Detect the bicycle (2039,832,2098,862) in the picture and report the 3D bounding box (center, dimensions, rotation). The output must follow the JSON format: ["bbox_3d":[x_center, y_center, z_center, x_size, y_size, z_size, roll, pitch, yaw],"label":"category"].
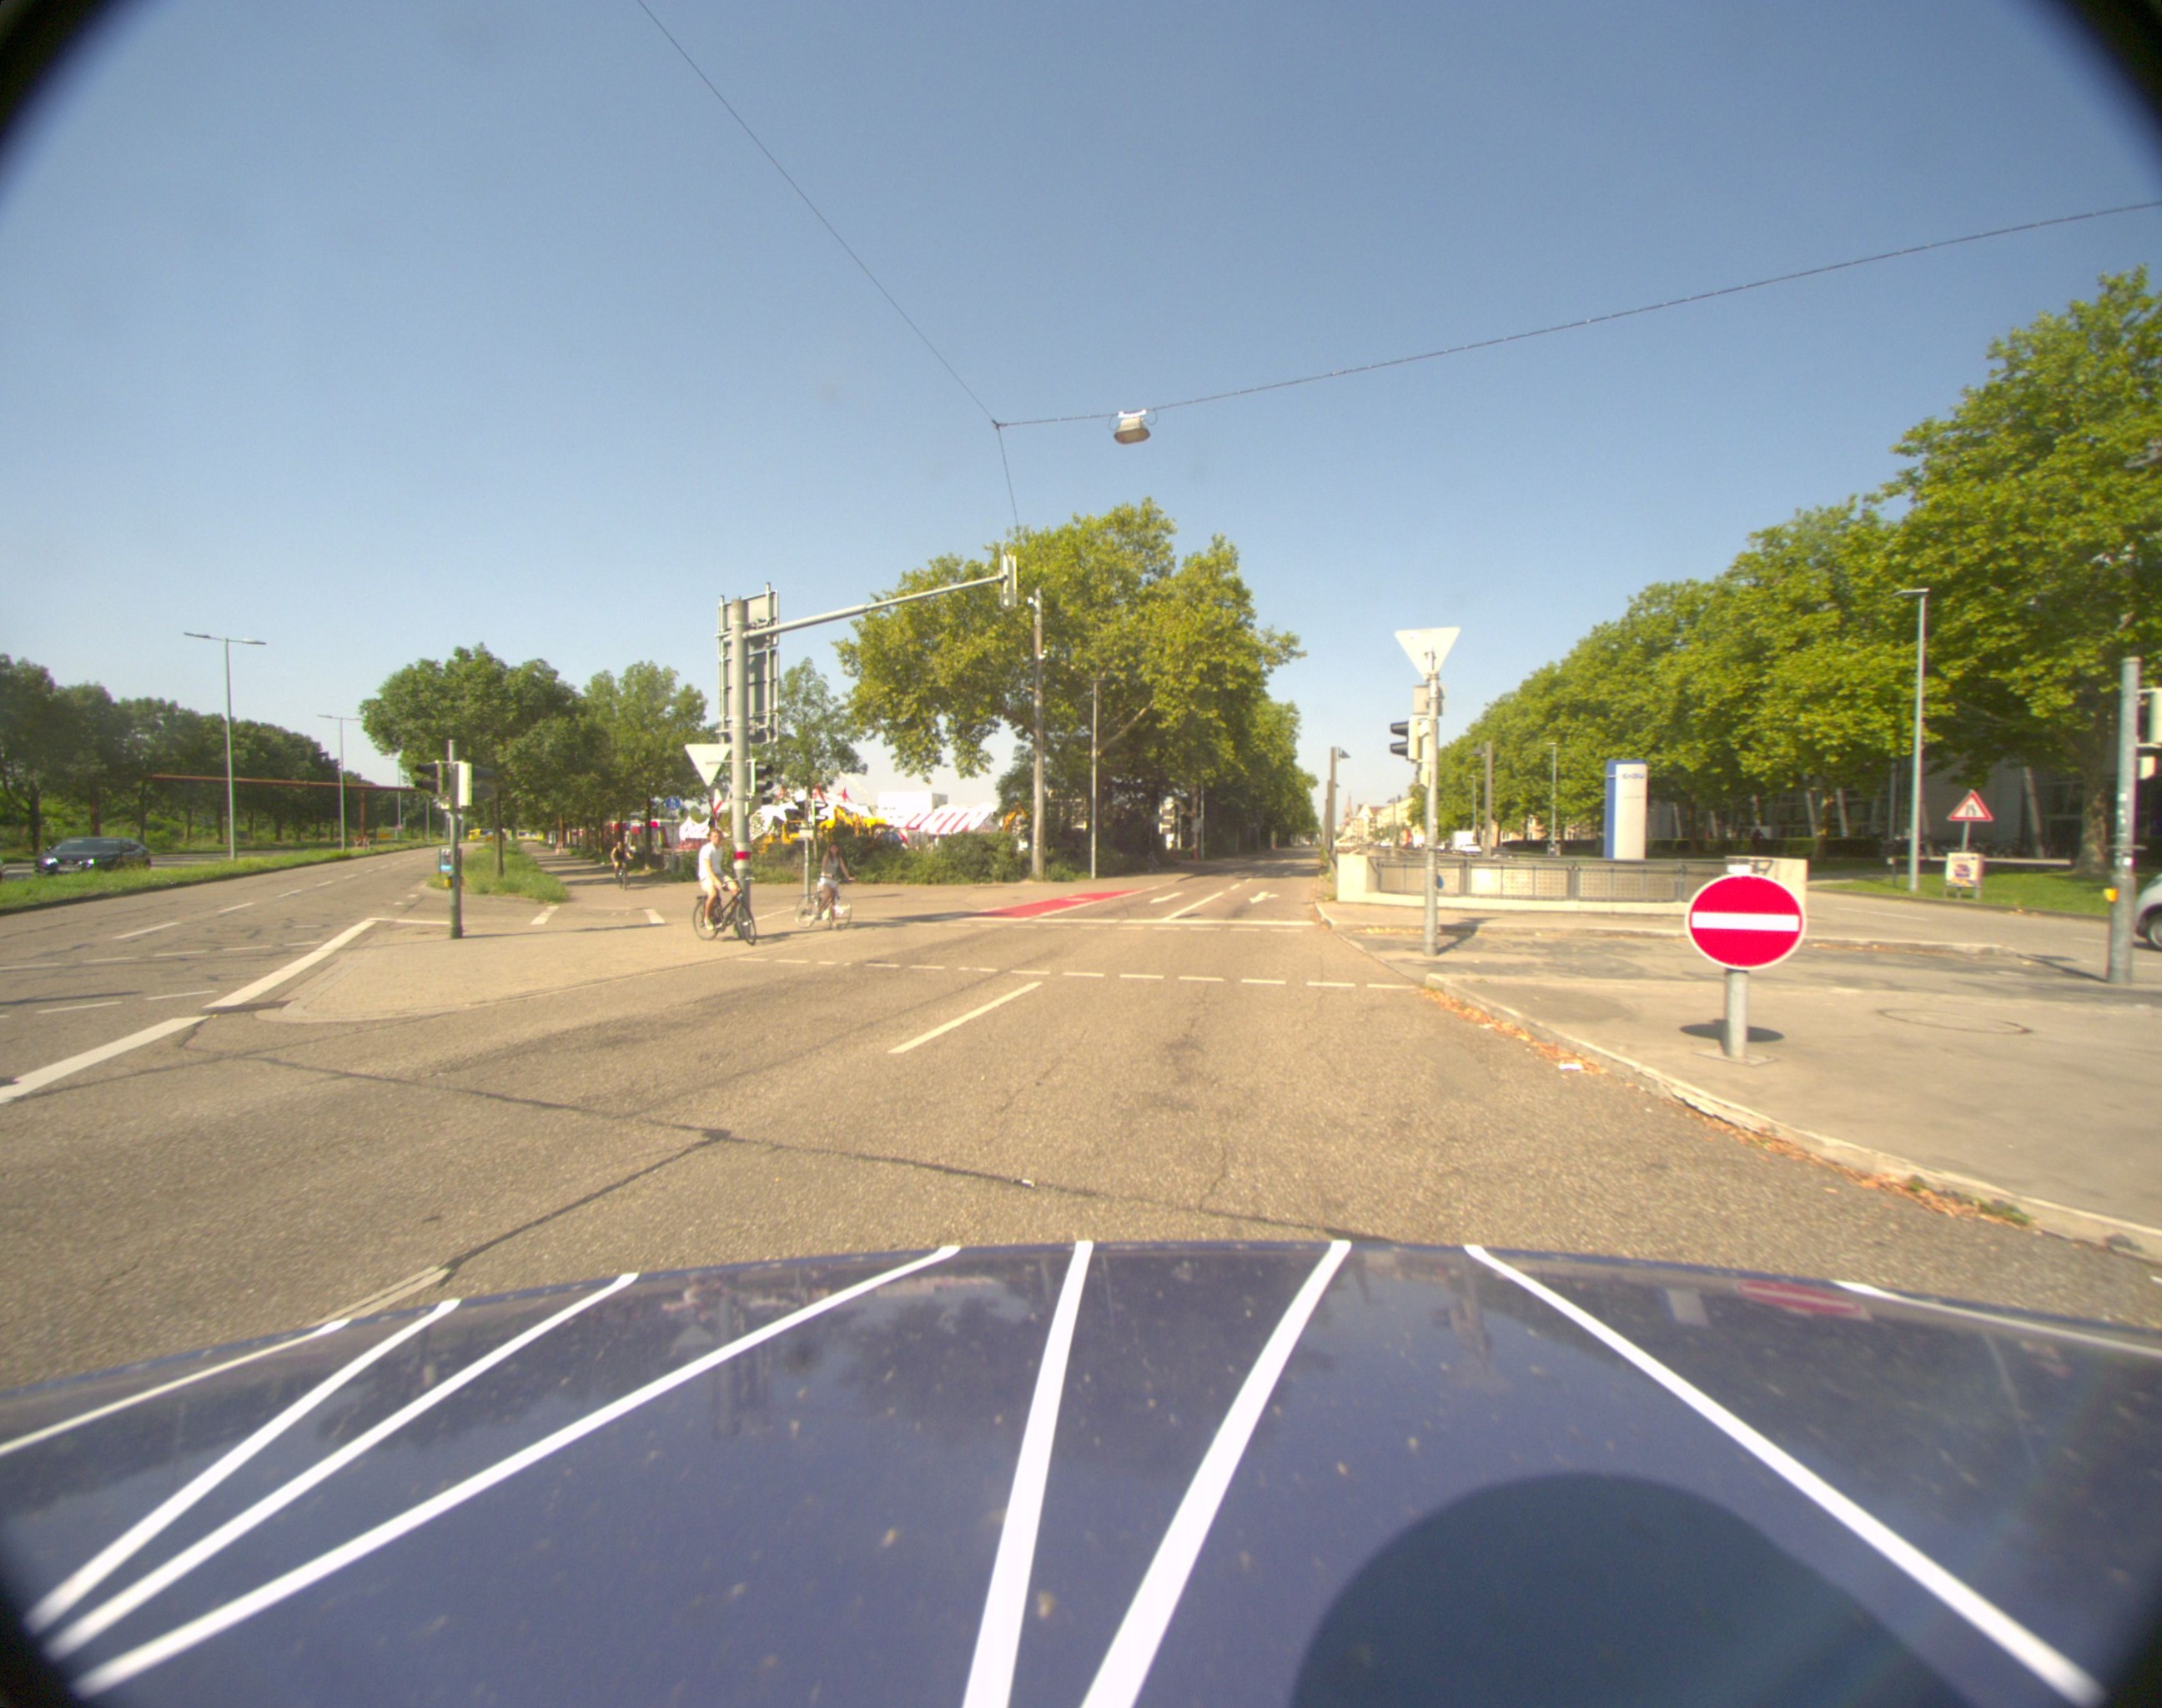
[{"bbox_3d":[55.402,-0.397,42.658,2.166,1.546,0.601,-2,1,10],"label":"bicycle"}]

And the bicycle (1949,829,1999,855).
[{"bbox_3d":[56.202,-0.777,47.832,2.166,1.546,0.601,-2,1,10],"label":"bicycle"}]

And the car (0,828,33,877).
[{"bbox_3d":[-37.520,-0.014,25.352,1.659,1.655,3.746,-3,1,-32],"label":"car"}]

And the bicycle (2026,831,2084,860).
[{"bbox_3d":[55.600,-0.501,43.400,2.166,1.546,0.601,-2,1,10],"label":"bicycle"}]

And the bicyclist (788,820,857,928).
[{"bbox_3d":[-5.015,0.375,14.746,1.201,2.002,0.599,-1,2,37],"label":"bicyclist"}]

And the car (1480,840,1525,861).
[{"bbox_3d":[27.454,-0.277,49.564,1.658,1.214,3.898,-2,1,15],"label":"car"}]

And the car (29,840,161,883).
[{"bbox_3d":[-35.111,0.274,27.190,1.659,1.390,3.746,-3,1,-33],"label":"car"}]

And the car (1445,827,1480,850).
[{"bbox_3d":[39.142,-1.615,78.080,2.288,2.220,4.660,-2,1,16],"label":"car"}]

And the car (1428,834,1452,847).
[{"bbox_3d":[44.188,-1.702,93.539,1.996,1.445,4.004,-2,1,16],"label":"car"}]

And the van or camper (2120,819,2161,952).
[{"bbox_3d":[16.065,0.574,9.018,1.843,1.937,4.952,1,3,19],"label":"van or camper"}]

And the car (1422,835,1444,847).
[{"bbox_3d":[45.862,-1.650,99.050,1.996,1.445,4.004,-2,1,16],"label":"car"}]

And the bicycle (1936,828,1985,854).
[{"bbox_3d":[56.366,-0.844,48.714,2.166,1.546,0.601,-2,1,10],"label":"bicycle"}]

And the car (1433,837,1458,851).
[{"bbox_3d":[42.150,-1.207,87.922,1.996,1.445,4.004,-2,1,16],"label":"car"}]

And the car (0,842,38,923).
[{"bbox_3d":[-30.468,0.812,19.767,2.253,2.248,5.210,-3,1,-35],"label":"car"}]

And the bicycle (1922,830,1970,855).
[{"bbox_3d":[56.634,-0.739,49.766,2.166,1.546,0.601,-2,1,10],"label":"bicycle"}]

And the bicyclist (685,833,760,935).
[{"bbox_3d":[-5.887,0.479,12.454,1.201,1.585,0.599,-1,2,41],"label":"bicyclist"}]

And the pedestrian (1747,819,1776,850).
[{"bbox_3d":[44.497,-1.285,49.712,0.947,2.002,1.350,-2,1,19],"label":"pedestrian"}]

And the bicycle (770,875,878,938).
[{"bbox_3d":[-5.022,0.990,14.802,2.256,1.081,0.774,-1,3,36],"label":"bicycle"}]

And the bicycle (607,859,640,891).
[{"bbox_3d":[-16.225,0.723,26.955,0.573,1.050,1.491,-3,1,-16],"label":"bicycle"}]

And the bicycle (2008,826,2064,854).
[{"bbox_3d":[55.726,-0.808,44.361,2.166,1.546,0.601,-2,1,10],"label":"bicycle"}]

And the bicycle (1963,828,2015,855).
[{"bbox_3d":[55.930,-0.768,46.801,2.166,1.546,0.601,-2,1,10],"label":"bicycle"}]

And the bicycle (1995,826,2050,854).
[{"bbox_3d":[55.852,-0.807,45.093,2.166,1.546,0.601,-2,1,10],"label":"bicycle"}]

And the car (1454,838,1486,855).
[{"bbox_3d":[37.488,-0.758,73.389,1.996,1.445,4.004,-2,1,16],"label":"car"}]

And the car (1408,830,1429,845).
[{"bbox_3d":[50.902,-2.528,114.722,2.288,2.068,4.660,-2,1,16],"label":"car"}]

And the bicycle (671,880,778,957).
[{"bbox_3d":[-5.985,1.033,12.682,2.213,1.081,0.774,1,2,41],"label":"bicycle"}]

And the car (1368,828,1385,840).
[{"bbox_3d":[50.638,-3.421,130.315,1.997,2.002,4.003,-2,1,12],"label":"car"}]

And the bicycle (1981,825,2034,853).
[{"bbox_3d":[55.977,-0.909,45.914,2.166,1.546,0.601,-2,1,10],"label":"bicycle"}]

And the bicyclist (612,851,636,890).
[{"bbox_3d":[-16.238,0.582,26.998,0.503,1.357,0.695,-3,1,-15],"label":"bicyclist"}]
